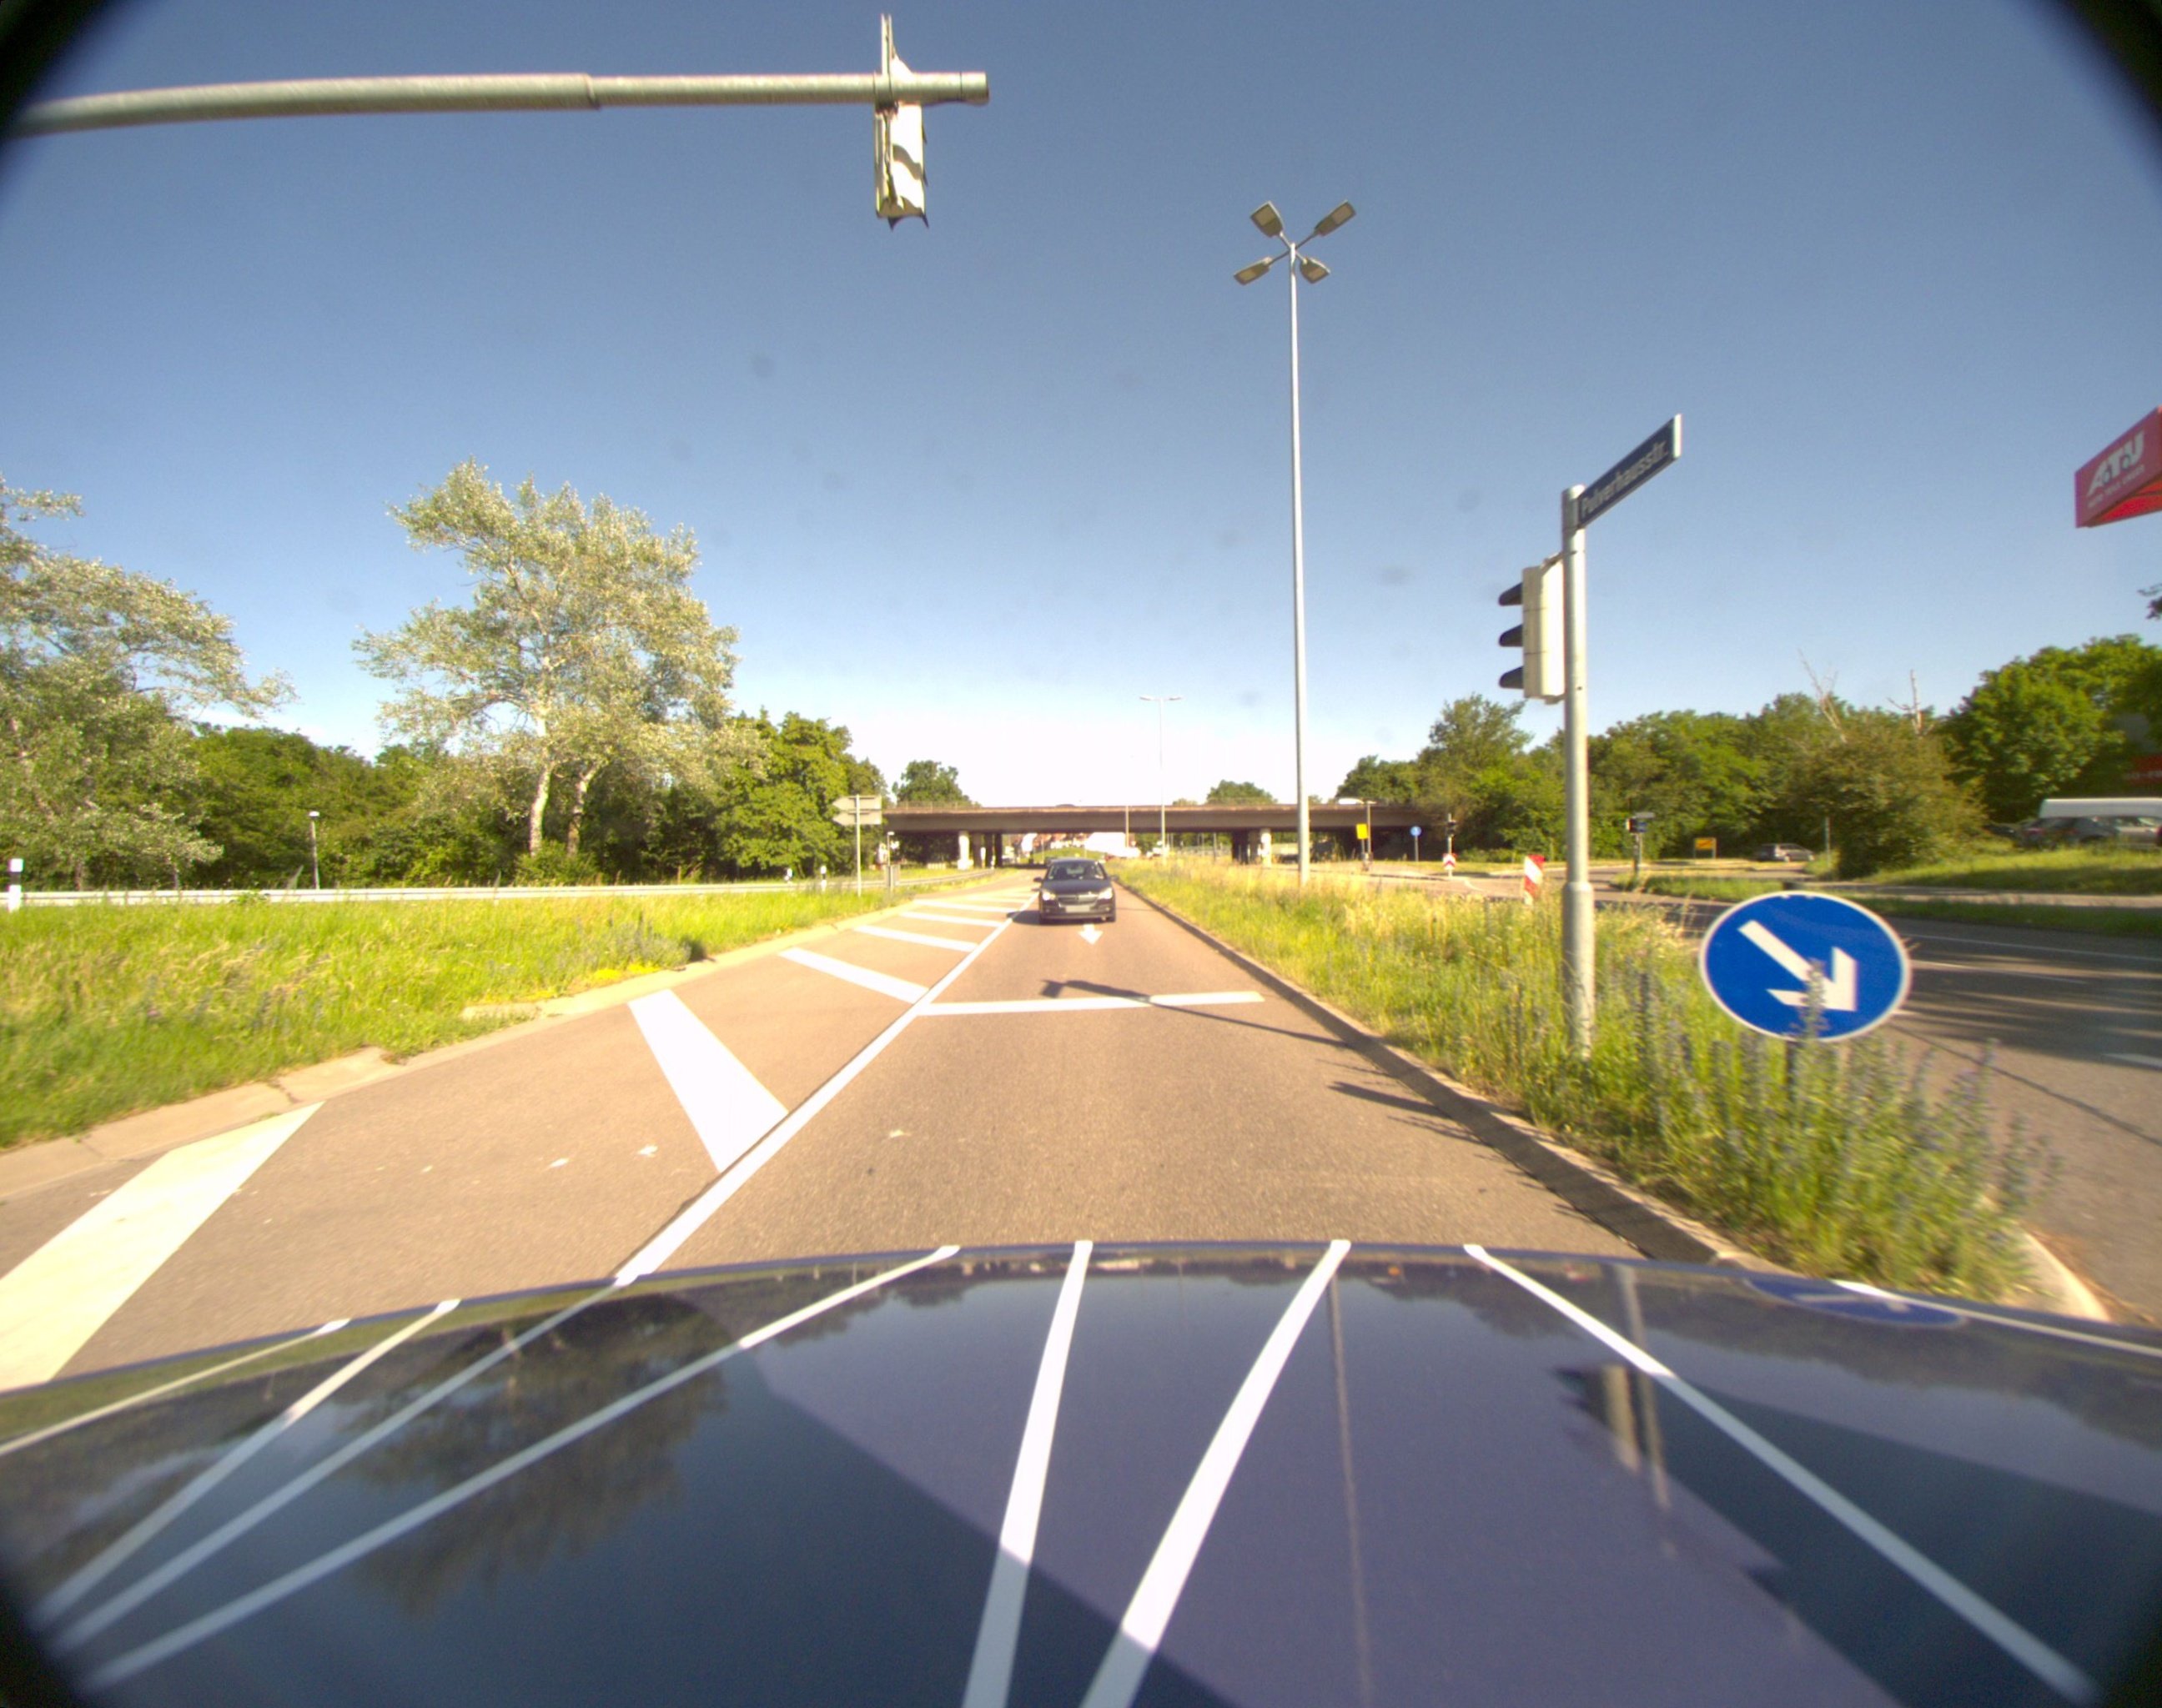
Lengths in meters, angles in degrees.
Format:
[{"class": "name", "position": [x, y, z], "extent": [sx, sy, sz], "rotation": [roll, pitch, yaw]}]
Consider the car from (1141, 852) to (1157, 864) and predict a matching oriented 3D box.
[{"class": "car", "position": [8.499, 0.522, 94.913], "extent": [1.637, 1.436, 4.103], "rotation": [-1, 0, 0]}]

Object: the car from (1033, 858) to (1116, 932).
[{"class": "car", "position": [-0.048, 0.886, 18.098], "extent": [1.706, 1.446, 3.960], "rotation": [-3, 0, 3]}]

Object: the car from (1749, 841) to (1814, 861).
[{"class": "car", "position": [53.525, -0.242, 58.072], "extent": [4.386, 1.417, 1.782], "rotation": [-1, 2, -20]}]

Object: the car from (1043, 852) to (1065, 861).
[{"class": "car", "position": [-4.532, 0.448, 127.274], "extent": [1.831, 1.528, 4.032], "rotation": [-1, 0, -33]}]

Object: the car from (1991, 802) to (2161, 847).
[{"class": "car", "position": [37.822, -1.076, 28.636], "extent": [4.120, 1.542, 1.899], "rotation": [-1, 1, 31]}]

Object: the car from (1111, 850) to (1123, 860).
[{"class": "car", "position": [6.101, 0.163, 129.420], "extent": [1.637, 1.521, 3.591], "rotation": [-1, 0, -4]}]

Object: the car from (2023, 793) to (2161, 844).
[{"class": "car", "position": [46.537, -1.549, 34.187], "extent": [1.899, 2.139, 5.034], "rotation": [-1, 0, -32]}]

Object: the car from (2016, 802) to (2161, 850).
[{"class": "car", "position": [35.968, -0.963, 26.304], "extent": [4.122, 1.542, 1.898], "rotation": [-1, 0, 22]}]

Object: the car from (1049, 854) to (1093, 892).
[{"class": "car", "position": [-0.420, 0.807, 34.383], "extent": [1.827, 1.528, 4.041], "rotation": [-2, 1, 0]}]

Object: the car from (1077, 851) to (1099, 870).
[{"class": "car", "position": [0.562, 0.535, 65.880], "extent": [1.827, 1.528, 4.042], "rotation": [-1, 0, 0]}]

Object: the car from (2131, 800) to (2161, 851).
[{"class": "car", "position": [34.873, -0.899, 22.560], "extent": [4.124, 1.542, 1.897], "rotation": [-1, 0, 13]}]
